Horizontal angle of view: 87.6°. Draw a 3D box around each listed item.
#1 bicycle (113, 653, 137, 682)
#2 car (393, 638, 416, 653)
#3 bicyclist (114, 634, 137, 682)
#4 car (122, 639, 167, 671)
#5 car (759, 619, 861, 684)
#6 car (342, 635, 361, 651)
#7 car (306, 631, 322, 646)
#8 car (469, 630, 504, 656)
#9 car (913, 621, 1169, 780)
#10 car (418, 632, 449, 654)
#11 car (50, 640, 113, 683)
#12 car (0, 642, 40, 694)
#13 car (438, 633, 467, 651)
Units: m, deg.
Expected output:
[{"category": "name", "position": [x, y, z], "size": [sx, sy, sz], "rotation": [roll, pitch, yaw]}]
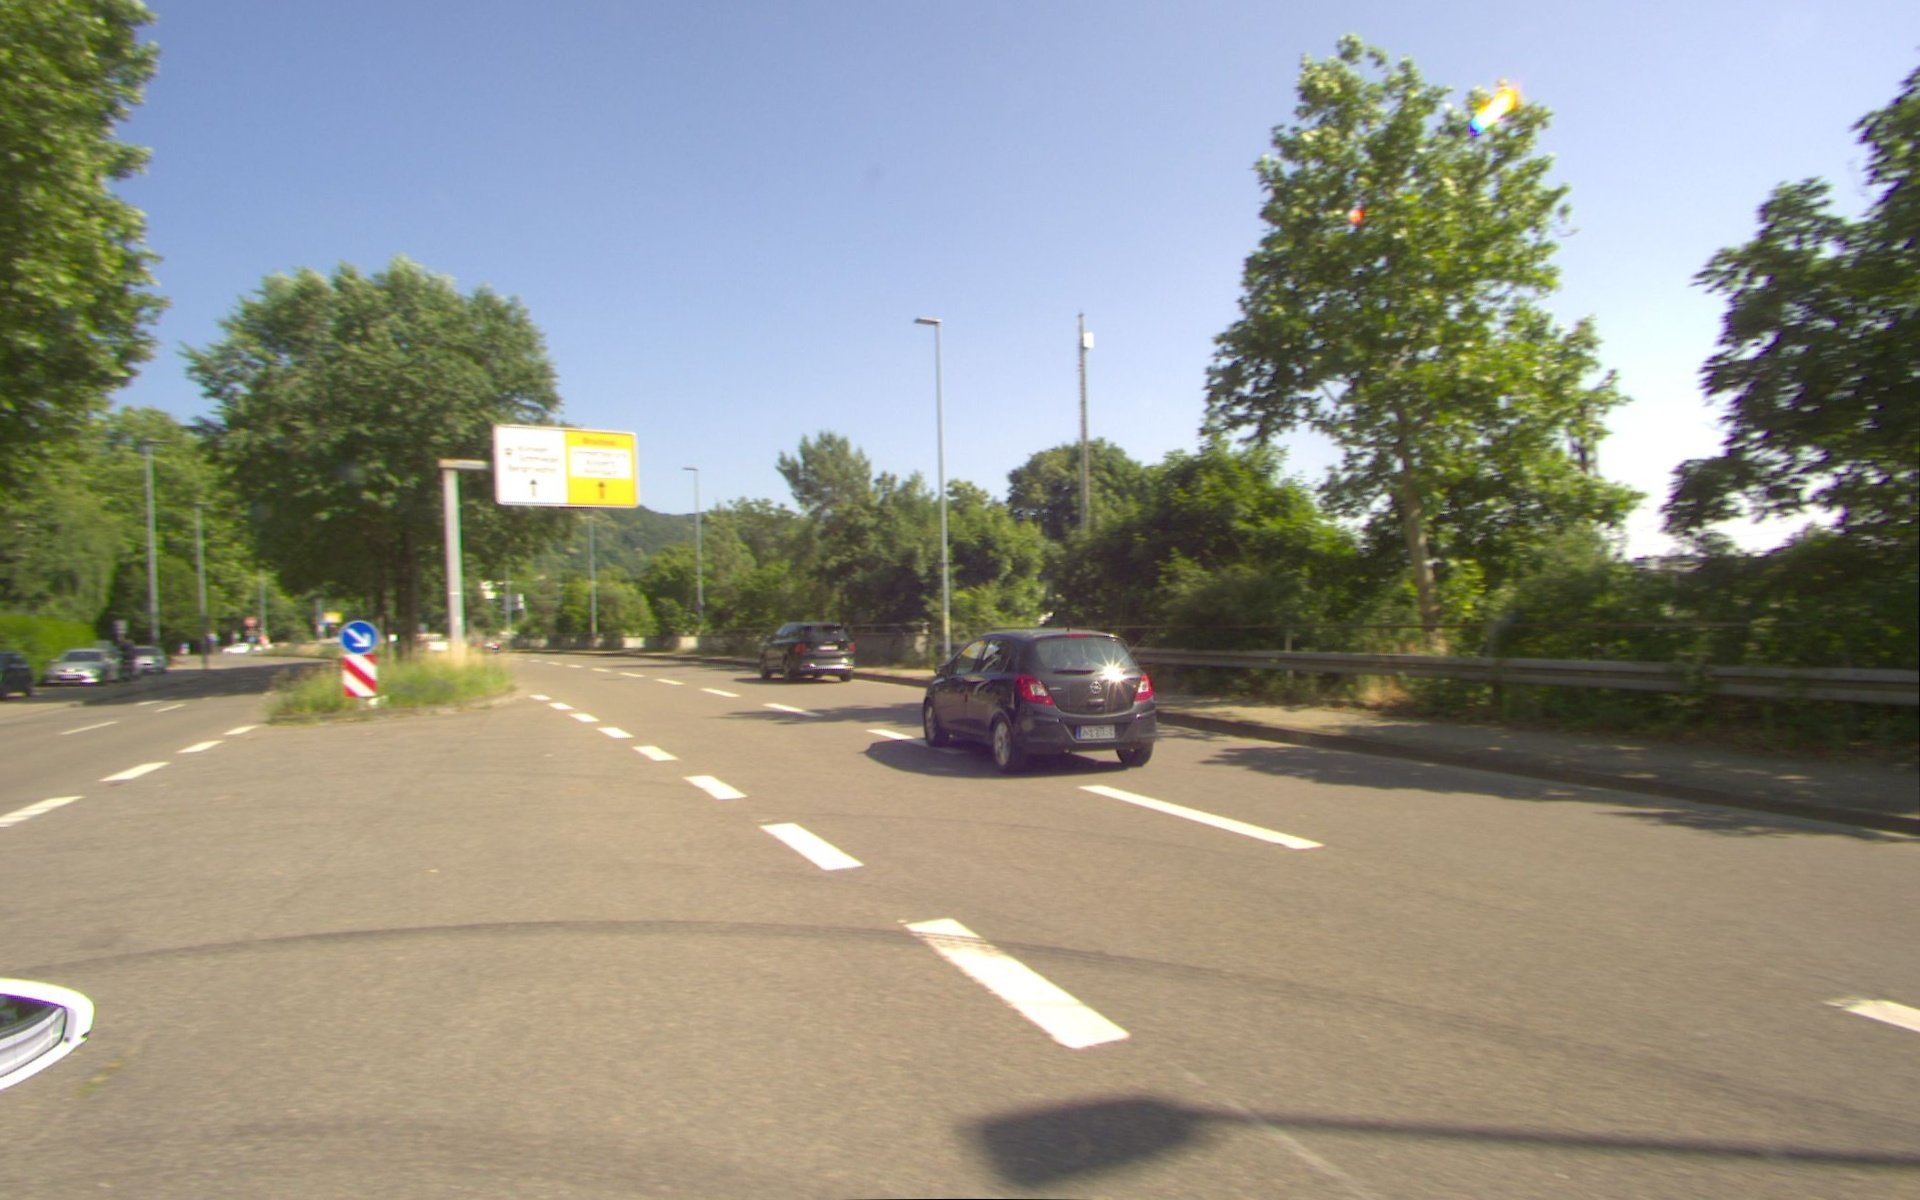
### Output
[{"category": "bicycle", "position": [-34.122, 2.754, 40.932], "size": [0.653, 1.137, 1.789], "rotation": [-1, -1, -38]}, {"category": "car", "position": [-58.310, 4.774, 105.036], "size": [1.614, 1.514, 3.655], "rotation": [-1, -1, -36]}, {"category": "bicyclist", "position": [-34.223, 2.374, 41.066], "size": [0.640, 1.919, 0.833], "rotation": [-1, 0, -37]}, {"category": "car", "position": [-45.810, 3.062, 56.307], "size": [1.753, 1.702, 3.972], "rotation": [-1, -1, -36]}, {"category": "car", "position": [-4.444, 1.461, 29.132], "size": [1.892, 1.685, 4.300], "rotation": [-1, -1, -23]}, {"category": "car", "position": [-70.716, 4.987, 116.312], "size": [1.614, 1.834, 3.567], "rotation": [0, -2, -37]}, {"category": "car", "position": [-88.806, 5.303, 137.668], "size": [1.614, 1.835, 3.567], "rotation": [-2, -1, -37]}, {"category": "car", "position": [-37.349, 3.388, 79.003], "size": [1.973, 1.915, 3.977], "rotation": [-1, -1, -33]}, {"category": "car", "position": [0.756, 1.029, 11.592], "size": [1.652, 1.488, 3.570], "rotation": [-1, -1, -19]}, {"category": "car", "position": [-48.523, 3.921, 92.246], "size": [1.975, 1.915, 3.972], "rotation": [-1, -1, -36]}, {"category": "car", "position": [-35.993, 2.482, 41.080], "size": [1.627, 1.594, 3.971], "rotation": [-1, -1, -37]}, {"category": "car", "position": [-30.176, 2.101, 30.998], "size": [1.768, 1.532, 3.872], "rotation": [-1, -1, -32]}, {"category": "car", "position": [-51.666, 4.289, 101.988], "size": [1.975, 1.698, 3.973], "rotation": [-1, -1, -36]}]
